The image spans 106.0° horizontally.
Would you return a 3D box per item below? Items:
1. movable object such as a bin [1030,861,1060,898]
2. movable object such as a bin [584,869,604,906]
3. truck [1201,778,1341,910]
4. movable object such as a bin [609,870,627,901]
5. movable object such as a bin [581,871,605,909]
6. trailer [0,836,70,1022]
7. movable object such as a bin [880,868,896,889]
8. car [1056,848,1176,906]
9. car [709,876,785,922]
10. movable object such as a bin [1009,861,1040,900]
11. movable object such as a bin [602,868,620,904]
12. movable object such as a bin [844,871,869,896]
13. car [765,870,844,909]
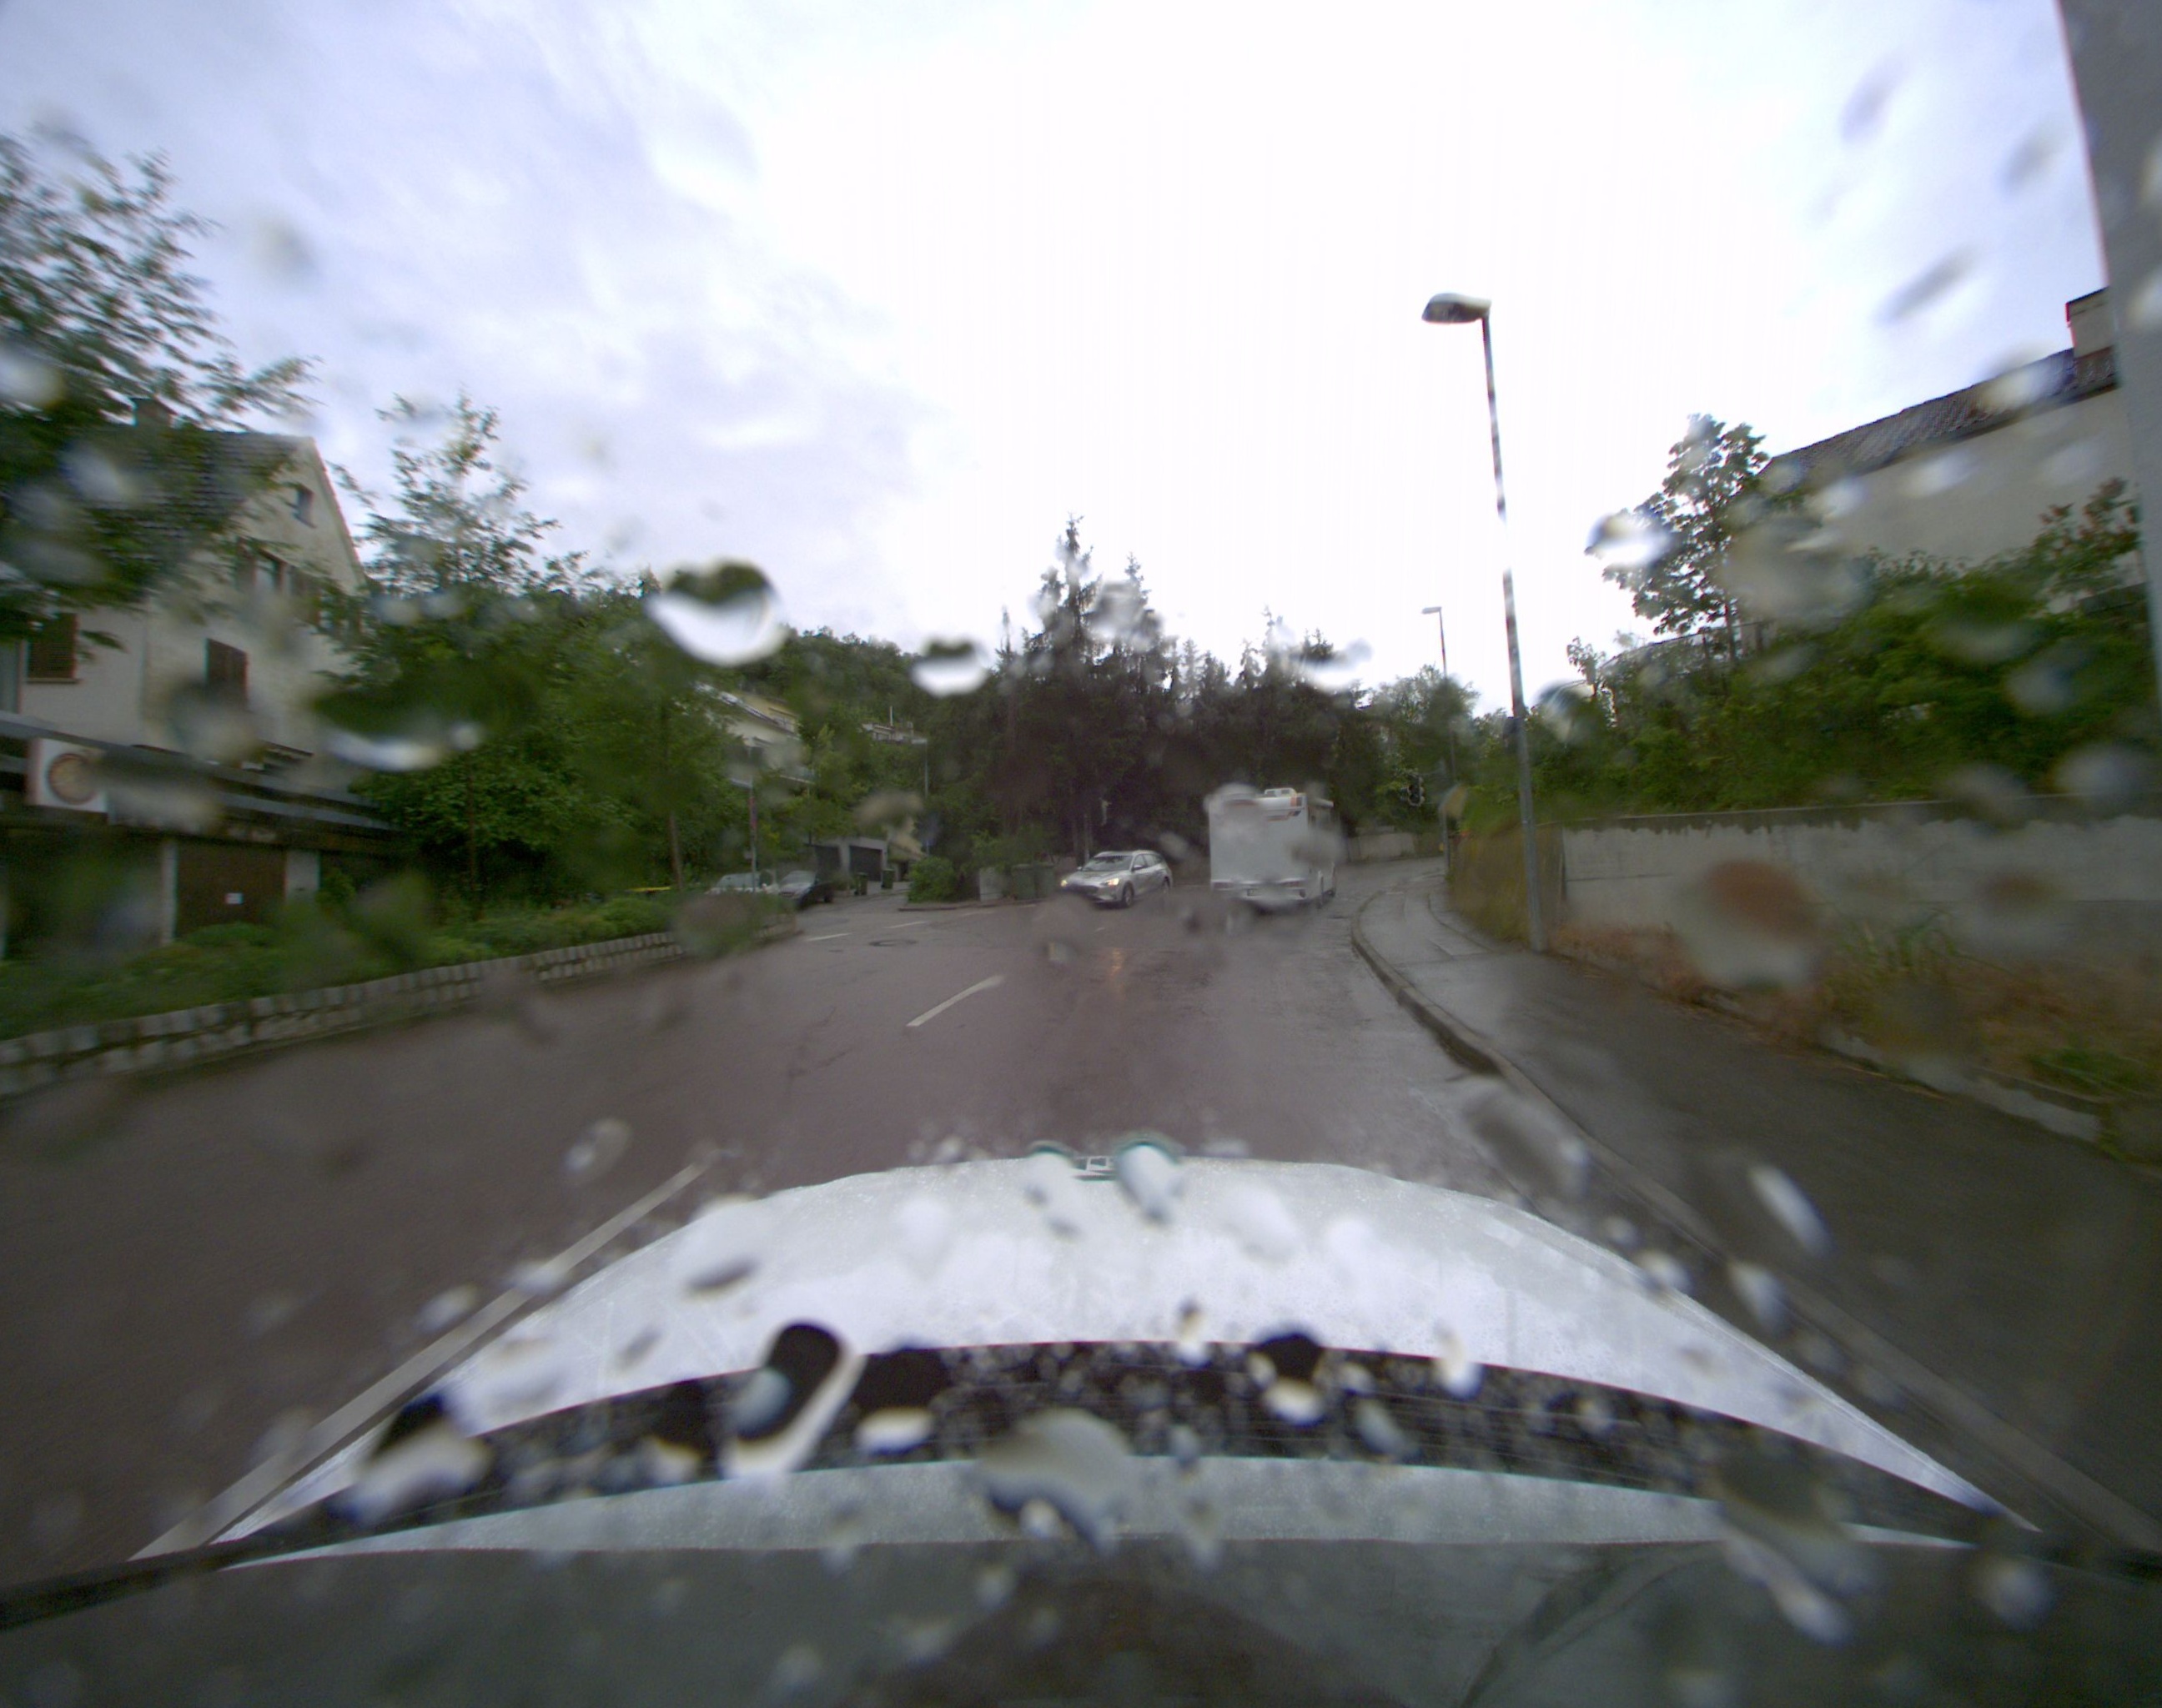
[{"bbox_3d":[-1.089,0.762,24.865,0.710,1.088,0.554,0,-1,-40],"label":"movable object such as a bin"},{"bbox_3d":[-14.224,0.976,23.781,0.346,1.046,0.389,-1,-1,2],"label":"movable object such as a bin"},{"bbox_3d":[5.051,-0.188,20.732,2.493,2.817,6.234,-1,0,22],"label":"truck"},{"bbox_3d":[-14.235,0.975,25.017,0.319,0.943,0.383,-1,-1,2],"label":"movable object such as a bin"},{"bbox_3d":[-13.935,1.014,23.261,0.364,1.064,0.500,-1,-1,2],"label":"movable object such as a bin"},{"bbox_3d":[-14.204,0.932,8.598,3.976,2.102,1.933,-2,-1,-33],"label":"trailer"},{"bbox_3d":[-11.140,1.417,46.978,0.700,1.222,0.592,-1,-1,10],"label":"movable object such as a bin"},{"bbox_3d":[1.081,0.578,22.455,1.580,1.413,4.263,-1,0,28],"label":"car"},{"bbox_3d":[-11.220,1.469,27.566,1.543,1.330,3.735,-1,0,-9],"label":"car"},{"bbox_3d":[-1.701,0.777,24.471,0.671,1.139,0.618,0,-1,-40],"label":"movable object such as a bin"},{"bbox_3d":[-14.036,0.947,24.314,0.299,1.039,0.383,-1,-1,2],"label":"movable object such as a bin"},{"bbox_3d":[-11.116,1.465,40.310,0.847,1.198,0.935,-1,-1,8],"label":"movable object such as a bin"},{"bbox_3d":[-11.080,1.392,32.913,1.592,1.360,4.448,-1,0,1],"label":"car"}]
